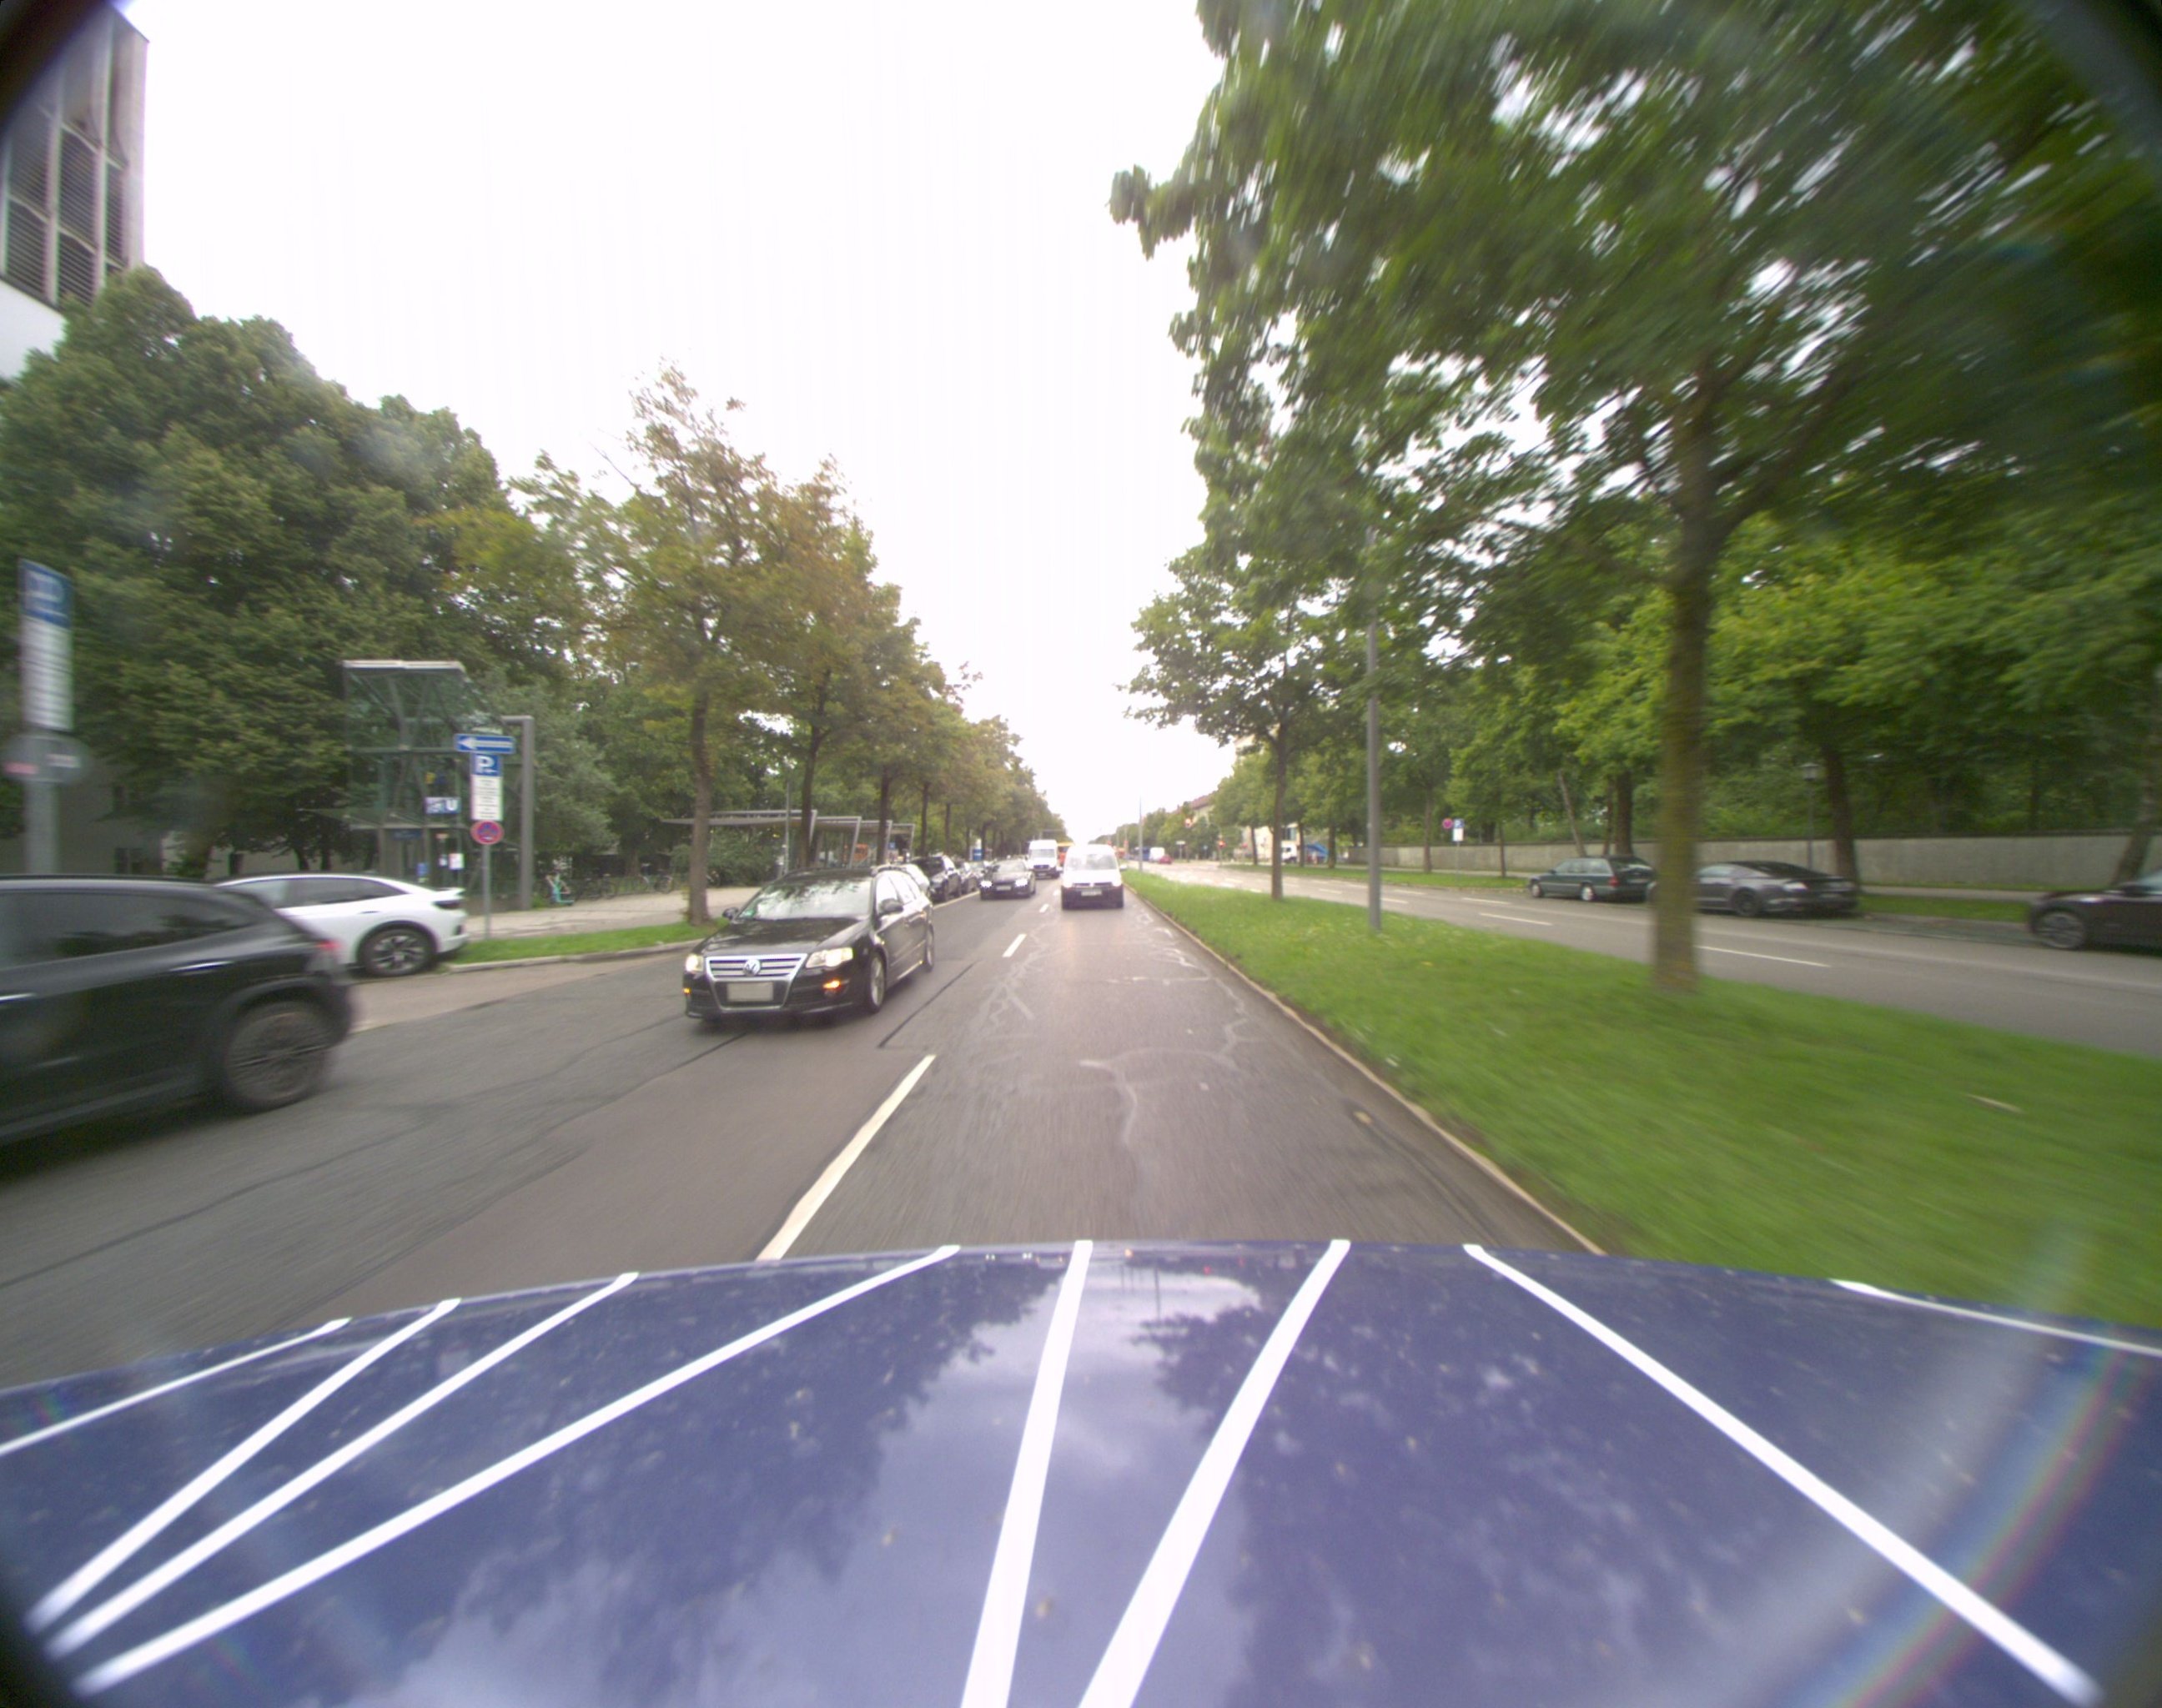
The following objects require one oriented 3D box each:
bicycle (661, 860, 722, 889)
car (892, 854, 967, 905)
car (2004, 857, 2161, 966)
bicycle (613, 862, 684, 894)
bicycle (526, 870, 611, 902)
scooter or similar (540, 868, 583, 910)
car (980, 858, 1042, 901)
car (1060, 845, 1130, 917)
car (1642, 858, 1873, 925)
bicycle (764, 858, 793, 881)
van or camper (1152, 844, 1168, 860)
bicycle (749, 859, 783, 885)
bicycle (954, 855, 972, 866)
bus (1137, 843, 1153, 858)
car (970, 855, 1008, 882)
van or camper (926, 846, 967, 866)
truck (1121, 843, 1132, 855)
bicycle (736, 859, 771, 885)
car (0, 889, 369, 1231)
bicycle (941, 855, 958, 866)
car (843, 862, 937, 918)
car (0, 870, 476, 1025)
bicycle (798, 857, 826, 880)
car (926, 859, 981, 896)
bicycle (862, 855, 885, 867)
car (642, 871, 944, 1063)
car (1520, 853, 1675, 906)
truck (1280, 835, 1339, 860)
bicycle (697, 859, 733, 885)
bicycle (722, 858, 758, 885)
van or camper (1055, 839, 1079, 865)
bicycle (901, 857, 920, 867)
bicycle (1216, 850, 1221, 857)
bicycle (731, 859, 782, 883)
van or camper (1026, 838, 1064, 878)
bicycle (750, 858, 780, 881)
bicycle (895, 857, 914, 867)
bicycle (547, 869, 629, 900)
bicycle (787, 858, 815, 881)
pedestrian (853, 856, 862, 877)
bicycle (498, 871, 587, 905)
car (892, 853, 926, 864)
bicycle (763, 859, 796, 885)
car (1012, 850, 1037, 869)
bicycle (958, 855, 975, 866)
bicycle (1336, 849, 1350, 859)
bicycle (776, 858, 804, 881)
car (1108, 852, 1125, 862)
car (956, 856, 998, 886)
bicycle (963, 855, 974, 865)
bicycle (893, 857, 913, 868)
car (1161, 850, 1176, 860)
[{"bbox_3d":[-18.285,0.964,35.687,2.548,1.273,0.647,-1,1,1],"label":"bicycle"},{"bbox_3d":[-5.455,0.870,27.867,1.791,1.665,4.595,-1,0,0],"label":"car"},{"bbox_3d":[16.371,0.847,10.763,1.574,1.494,4.304,-2,0,5],"label":"car"},{"bbox_3d":[-17.918,0.992,31.500,2.548,1.273,0.647,-1,1,1],"label":"bicycle"},{"bbox_3d":[-18.110,1.126,26.849,2.548,1.082,0.647,-1,1,1],"label":"bicycle"},{"bbox_3d":[-16.248,1.081,23.790,0.421,1.226,1.237,-1,1,3],"label":"scooter or similar"},{"bbox_3d":[-2.613,0.923,29.330,1.819,1.421,4.671,-2,0,1],"label":"car"},{"bbox_3d":[0.336,0.669,21.707,1.752,1.809,4.670,-1,0,-1],"label":"car"},{"bbox_3d":[16.695,0.838,19.153,1.663,1.388,4.706,-2,0,1],"label":"car"},{"bbox_3d":[-17.845,0.881,44.830,0.646,1.273,2.550,-1,1,1],"label":"bicycle"},{"bbox_3d":[13.532,-0.358,130.587,2.183,2.631,6.951,1,0,1],"label":"van or camper"},{"bbox_3d":[-16.331,0.907,39.497,0.646,1.273,2.550,-1,1,1],"label":"bicycle"},{"bbox_3d":[-13.539,0.704,87.019,1.946,1.205,0.567,1,1,-11],"label":"bicycle"},{"bbox_3d":[15.644,-0.873,186.864,2.752,3.324,12.047,1,0,-1],"label":"bus"},{"bbox_3d":[-5.542,0.868,46.150,1.722,1.500,4.223,-1,0,1],"label":"car"},{"bbox_3d":[-16.165,0.191,91.948,2.144,2.283,6.207,-1,0,18],"label":"van or camper"},{"bbox_3d":[13.389,-1.424,223.707,2.787,3.337,7.265,-1,1,0],"label":"truck"},{"bbox_3d":[-17.010,0.913,39.482,0.646,1.273,2.550,-1,1,1],"label":"bicycle"},{"bbox_3d":[-6.190,1.075,3.416,1.766,1.580,4.452,-1,0,0],"label":"car"},{"bbox_3d":[-14.838,0.713,85.815,1.810,1.136,0.567,1,1,6],"label":"bicycle"},{"bbox_3d":[-5.620,1.002,22.876,1.657,1.426,4.482,-1,0,0],"label":"car"},{"bbox_3d":[-11.886,1.117,10.731,1.968,1.615,4.856,-1,0,37],"label":"car"},{"bbox_3d":[-15.835,0.853,44.777,0.646,1.273,2.550,-1,1,1],"label":"bicycle"},{"bbox_3d":[-5.482,0.963,33.169,1.637,1.430,4.304,-1,0,0],"label":"car"},{"bbox_3d":[-22.104,0.728,80.949,2.344,1.151,0.529,1,1,0],"label":"bicycle"},{"bbox_3d":[-2.887,1.025,8.854,1.752,1.466,4.670,-2,0,-1],"label":"car"},{"bbox_3d":[16.851,0.758,25.165,1.804,1.481,4.915,-2,0,1],"label":"car"},{"bbox_3d":[33.487,-0.923,111.401,7.817,3.468,2.772,-1,1,2],"label":"truck"},{"bbox_3d":[-19.000,0.906,39.494,0.606,1.273,2.550,-1,1,1],"label":"bicycle"},{"bbox_3d":[-17.683,0.886,39.477,0.646,1.273,2.550,-1,1,1],"label":"bicycle"},{"bbox_3d":[-1.739,-0.307,98.862,2.780,3.219,7.074,-1,0,1],"label":"van or camper"},{"bbox_3d":[-20.205,0.924,90.189,0.716,1.147,2.133,0,1,41],"label":"bicycle"},{"bbox_3d":[24.407,-0.065,134.455,0.546,1.174,1.826,-1,1,0],"label":"bicycle"},{"bbox_3d":[-18.000,0.912,42.182,2.551,1.273,0.492,-1,1,-14],"label":"bicycle"},{"bbox_3d":[-2.395,0.223,52.646,2.183,2.546,7.074,-1,0,1],"label":"van or camper"},{"bbox_3d":[-18.614,0.881,44.828,0.646,1.273,2.550,-1,1,1],"label":"bicycle"},{"bbox_3d":[-20.594,0.947,88.493,0.716,1.147,2.133,0,1,41],"label":"bicycle"},{"bbox_3d":[-18.100,1.120,27.920,2.548,1.082,0.647,-1,1,1],"label":"bicycle"},{"bbox_3d":[-16.506,0.875,44.786,0.646,1.273,2.550,-1,1,1],"label":"bicycle"},{"bbox_3d":[-16.637,0.924,56.470,0.580,1.504,0.693,-1,1,-18],"label":"pedestrian"},{"bbox_3d":[-18.152,1.131,25.631,2.548,1.082,0.647,-1,1,1],"label":"bicycle"},{"bbox_3d":[-24.136,0.622,106.646,4.312,1.489,1.887,-1,1,-2],"label":"car"},{"bbox_3d":[-15.611,0.931,39.461,0.646,1.273,2.550,-1,1,1],"label":"bicycle"},{"bbox_3d":[-5.185,0.500,70.231,1.751,1.714,4.906,-2,0,1],"label":"car"},{"bbox_3d":[-13.019,0.741,86.435,1.812,1.136,0.567,1,1,-11],"label":"bicycle"},{"bbox_3d":[32.747,0.005,95.042,0.837,1.179,2.496,-1,0,-1],"label":"bicycle"},{"bbox_3d":[-17.163,0.896,44.900,0.646,1.273,2.550,-1,1,1],"label":"bicycle"},{"bbox_3d":[5.279,0.476,112.840,1.645,1.478,3.777,-1,1,-10],"label":"car"},{"bbox_3d":[-5.619,0.886,41.337,1.638,1.445,4.078,-1,0,1],"label":"car"},{"bbox_3d":[-13.293,0.688,89.870,0.863,1.191,2.000,1,1,5],"label":"bicycle"},{"bbox_3d":[-20.340,0.944,87.020,2.133,1.147,0.716,-1,1,-45],"label":"bicycle"},{"bbox_3d":[13.465,0.198,117.487,1.747,1.443,4.657,1,0,1],"label":"car"}]
